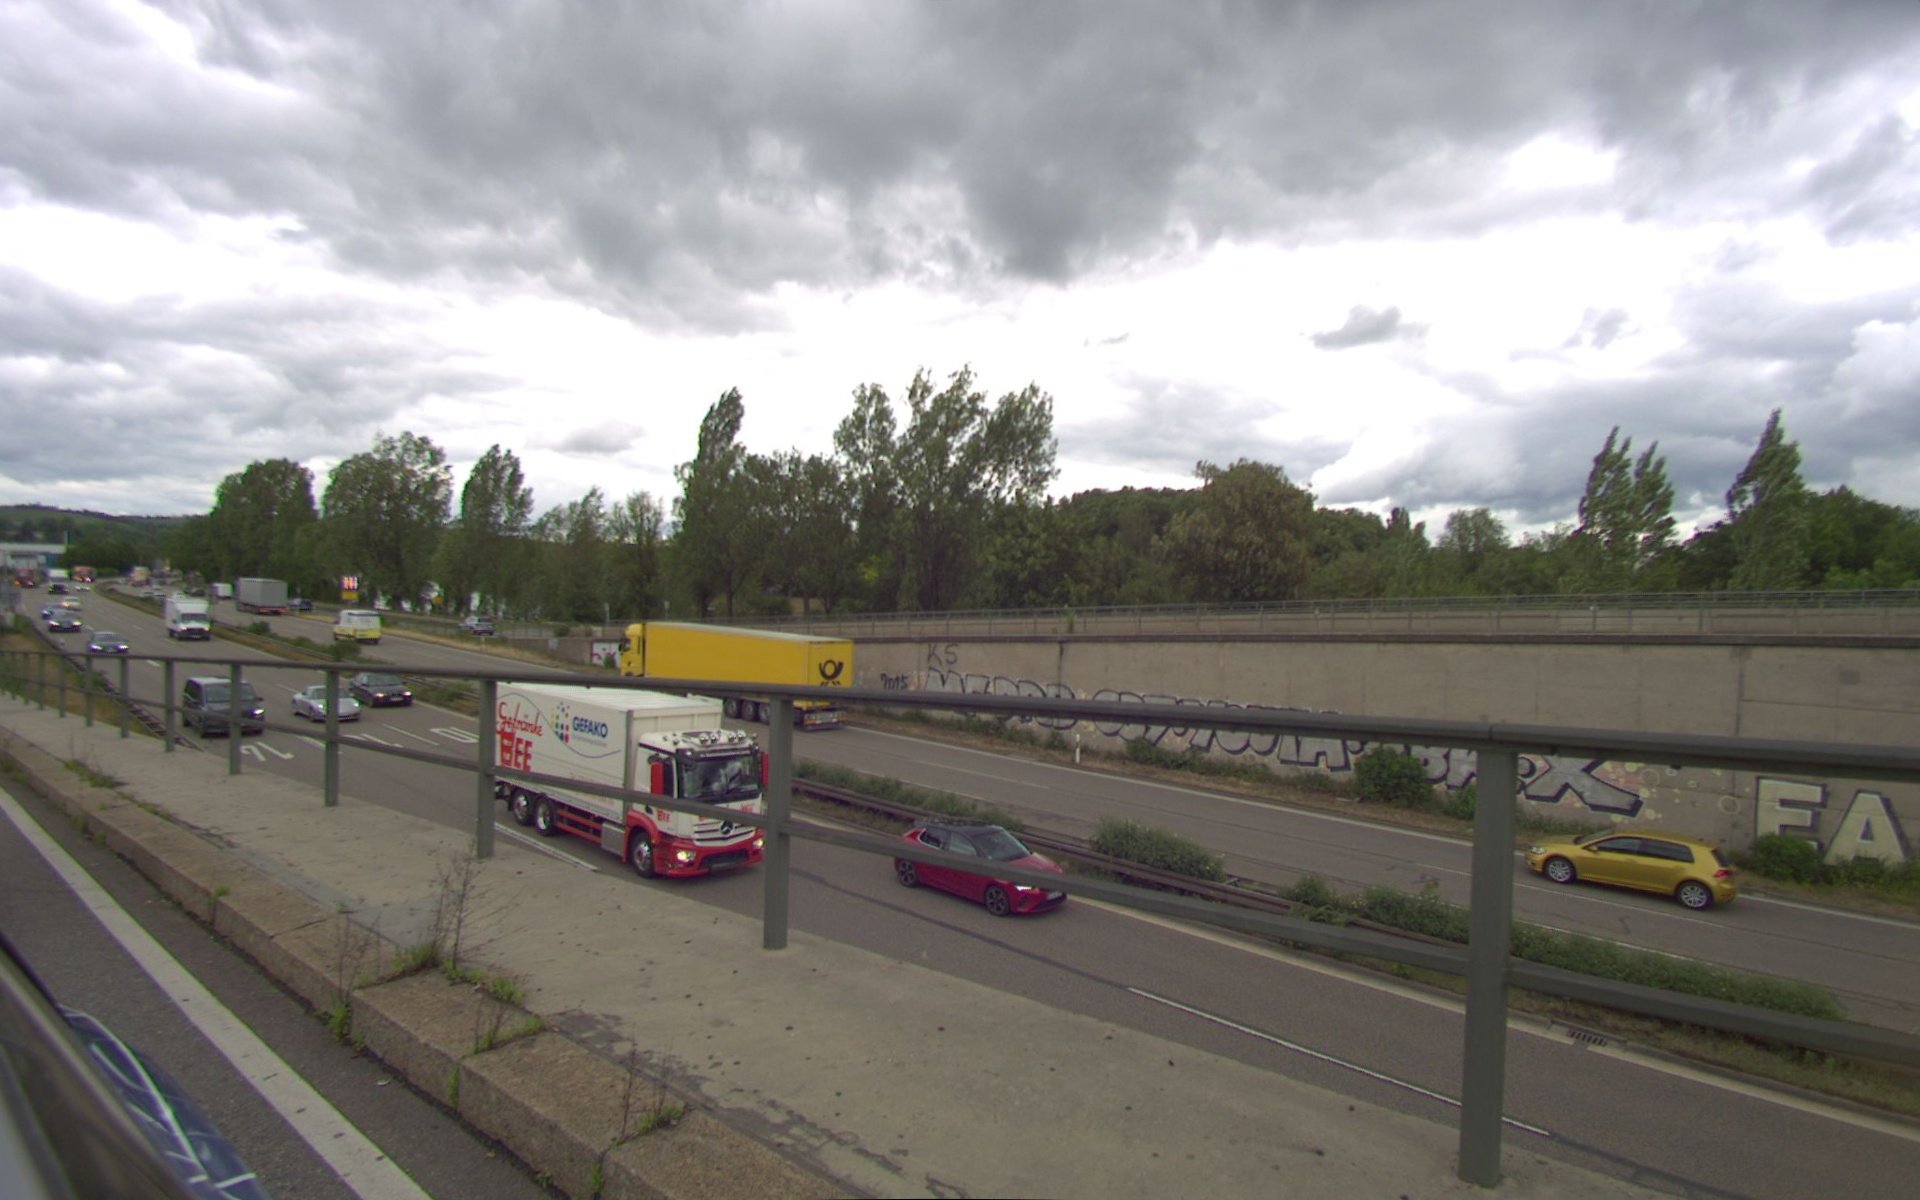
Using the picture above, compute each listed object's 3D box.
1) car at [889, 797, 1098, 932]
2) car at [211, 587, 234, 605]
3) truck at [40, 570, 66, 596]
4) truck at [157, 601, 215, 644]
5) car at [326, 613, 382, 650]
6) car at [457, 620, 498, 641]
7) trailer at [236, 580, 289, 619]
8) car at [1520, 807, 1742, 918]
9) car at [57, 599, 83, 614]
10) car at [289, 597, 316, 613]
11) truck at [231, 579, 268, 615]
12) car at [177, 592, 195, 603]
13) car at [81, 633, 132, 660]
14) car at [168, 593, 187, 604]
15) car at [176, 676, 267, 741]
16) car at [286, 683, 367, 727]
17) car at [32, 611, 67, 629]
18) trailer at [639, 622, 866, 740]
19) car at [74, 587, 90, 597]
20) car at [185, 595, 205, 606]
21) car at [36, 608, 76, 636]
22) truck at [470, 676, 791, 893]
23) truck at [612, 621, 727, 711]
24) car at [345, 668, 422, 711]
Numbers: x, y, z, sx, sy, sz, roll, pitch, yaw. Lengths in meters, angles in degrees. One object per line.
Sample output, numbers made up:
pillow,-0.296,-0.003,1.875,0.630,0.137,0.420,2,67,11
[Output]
car,0.616,5.353,21.007,4.183,1.590,1.810,2,2,43
car,-121.914,-0.670,167.311,5.180,2.669,1.972,2,-3,42
truck,-151.706,-2.798,169.231,2.968,4.140,5.879,3,0,-44
truck,-60.538,1.716,79.058,7.229,3.031,2.210,2,1,41
car,-48.796,2.498,81.429,6.715,2.648,1.972,2,-1,43
car,-43.236,2.665,90.583,4.378,1.664,1.872,1,2,43
trailer,-83.704,-0.151,121.296,13.772,4.170,2.755,3,1,45
car,15.765,6.087,23.882,4.152,1.468,1.848,2,0,41
car,-98.997,0.728,112.576,3.335,1.539,1.746,2,0,41
car,-86.620,0.689,133.362,1.970,1.914,4.587,6,-3,-44
truck,-88.479,-0.402,126.033,5.939,4.170,2.755,3,1,45
car,-149.662,-0.535,195.704,4.562,1.831,1.861,2,-3,42
car,-53.646,2.891,63.581,4.126,1.461,1.804,2,0,41
car,-117.031,-0.276,151.282,4.002,1.431,1.660,3,0,44
car,-27.584,3.972,37.766,4.426,1.853,1.971,2,0,44
car,-26.241,4.295,41.873,4.153,1.311,1.766,2,0,42
car,-86.798,1.877,96.484,3.999,1.544,1.973,2,-1,41
trailer,-10.287,3.527,48.249,13.683,4.294,3.205,2,0,43
car,-166.531,-1.510,191.952,4.439,1.582,1.830,3,2,43
car,-136.918,0.068,181.079,4.562,1.831,1.861,2,-3,42
car,-72.216,1.752,80.828,4.001,2.029,1.971,2,-1,43
truck,-8.392,4.022,24.703,9.872,3.552,2.851,2,-1,43
truck,-15.277,3.342,53.018,5.805,4.213,3.205,2,0,43
car,-26.816,4.122,47.028,4.425,1.476,1.838,2,2,43
